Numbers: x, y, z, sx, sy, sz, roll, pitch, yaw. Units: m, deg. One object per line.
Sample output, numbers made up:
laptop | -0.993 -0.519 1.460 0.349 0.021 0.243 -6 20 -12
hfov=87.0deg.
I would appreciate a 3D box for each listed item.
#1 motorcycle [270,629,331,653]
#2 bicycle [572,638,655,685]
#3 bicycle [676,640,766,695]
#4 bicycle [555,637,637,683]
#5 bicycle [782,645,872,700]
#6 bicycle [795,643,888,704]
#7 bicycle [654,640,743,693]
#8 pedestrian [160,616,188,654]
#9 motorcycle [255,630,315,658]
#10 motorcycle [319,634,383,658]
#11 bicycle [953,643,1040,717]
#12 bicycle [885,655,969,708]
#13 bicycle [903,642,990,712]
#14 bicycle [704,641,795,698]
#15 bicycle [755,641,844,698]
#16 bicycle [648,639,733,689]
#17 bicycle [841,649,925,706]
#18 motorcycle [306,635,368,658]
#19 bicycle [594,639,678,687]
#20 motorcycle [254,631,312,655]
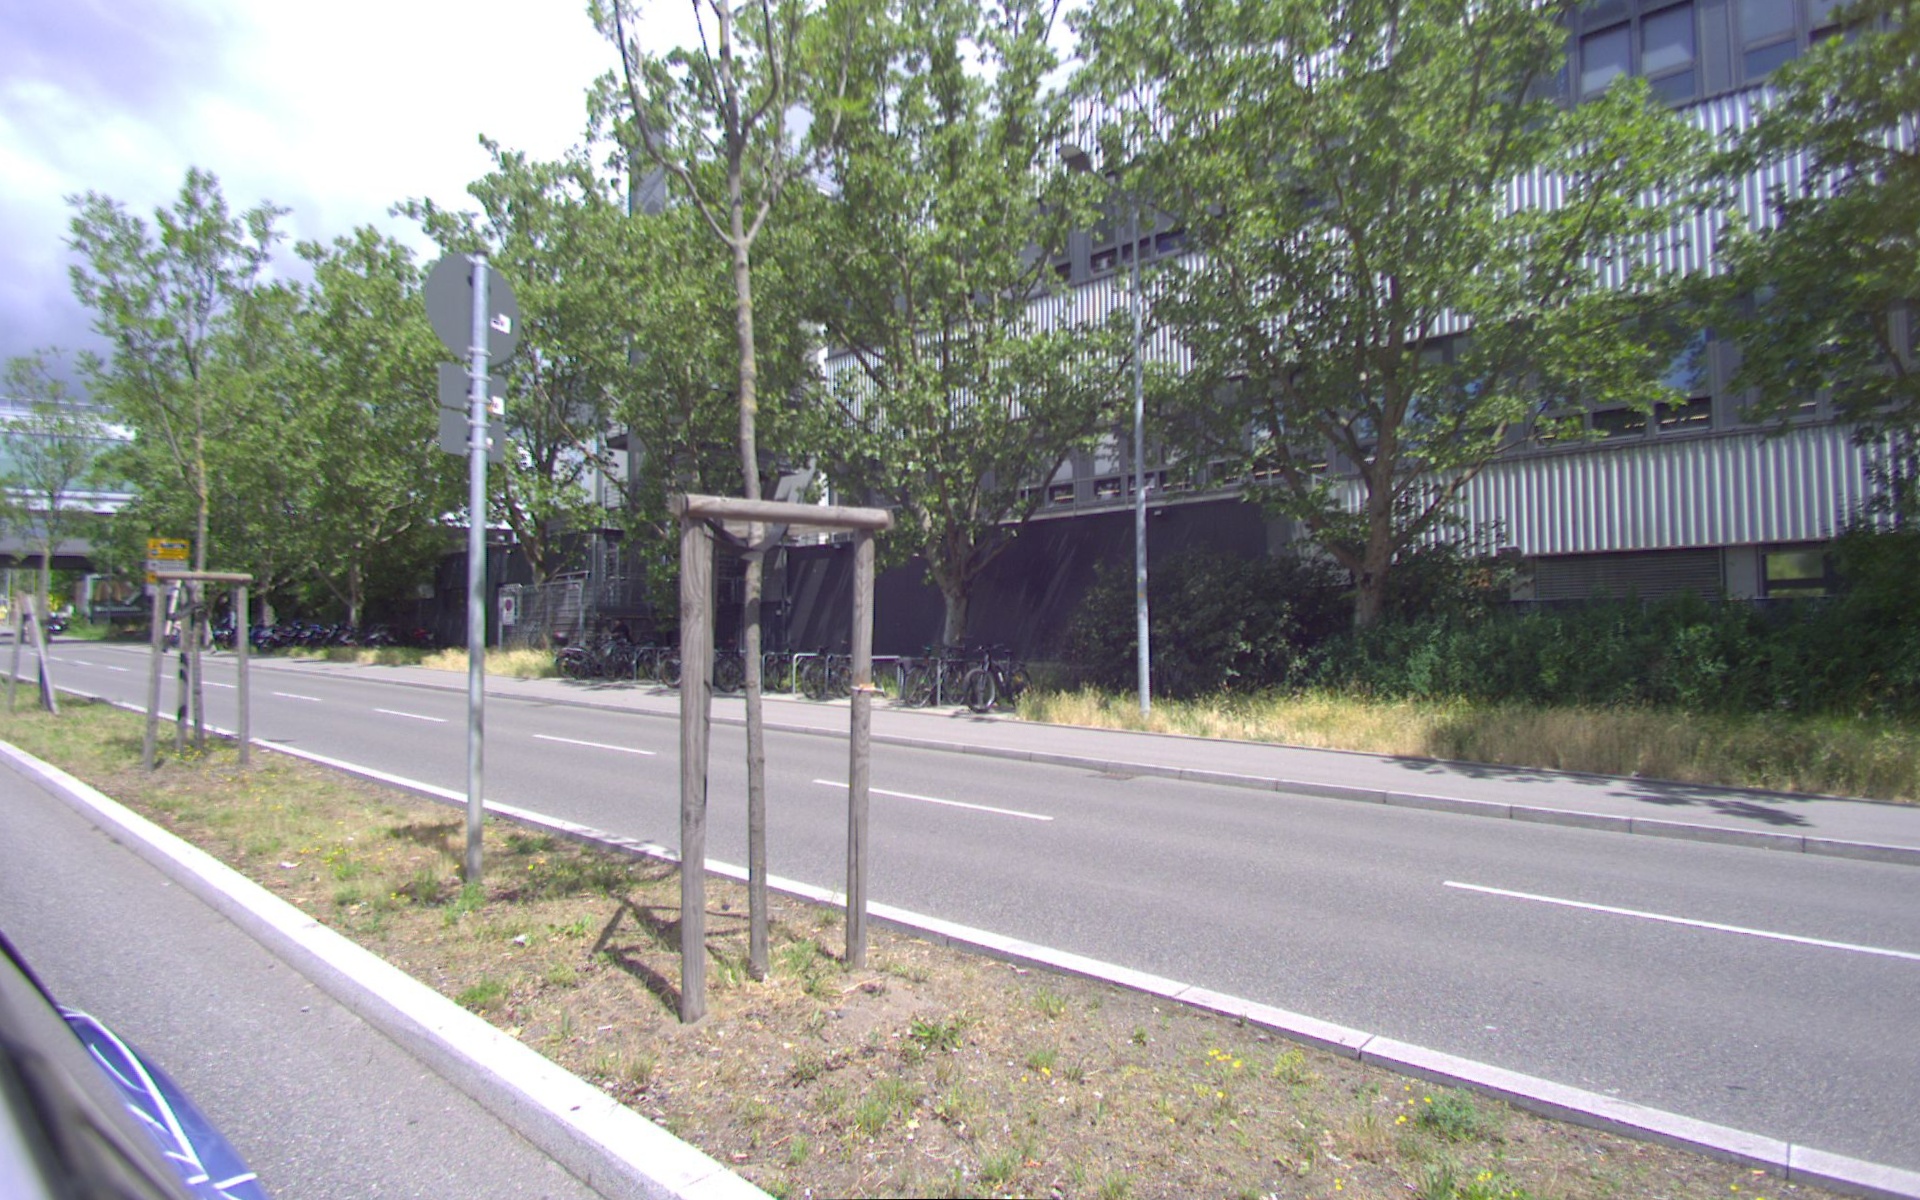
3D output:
motorcycle | -28.107 1.747 43.146 0.534 0.976 2.105 -2 -1 41
bicycle | -8.905 1.576 26.085 0.382 1.119 2.101 -2 -1 43
bicycle | -5.334 1.493 22.666 0.382 1.119 2.101 -2 -1 43
bicycle | -9.546 1.557 26.631 0.382 1.119 2.101 -2 -1 43
bicycle | -2.744 1.484 21.136 0.382 1.038 2.101 -2 -1 43
bicycle | -2.340 1.439 20.227 0.382 1.104 2.101 -2 -1 43
bicycle | -5.990 1.505 23.263 0.382 1.119 2.101 -2 -1 43
pedestrian | -36.755 1.630 47.303 0.672 1.734 0.888 -2 -2 41
motorcycle | -29.167 1.890 43.772 0.534 1.146 2.105 -2 -1 41
motorcycle | -23.955 1.798 39.830 0.534 0.905 2.105 -2 -1 41
bicycle | 0.660 1.343 17.397 0.381 1.137 1.968 -2 -1 39
bicycle | -0.597 1.525 19.220 0.381 0.897 1.968 -2 -1 39
bicycle | -0.220 1.340 18.119 0.381 1.137 1.968 -2 -1 39
bicycle | -4.543 1.484 22.016 0.382 1.119 2.101 -2 -1 43
bicycle | -3.412 1.461 21.750 0.382 1.119 2.101 -2 -1 43
bicycle | -6.481 1.516 24.413 0.382 1.119 2.101 -2 -1 43
bicycle | -1.470 1.481 19.706 0.381 1.005 1.968 -2 -1 39
motorcycle | -25.426 1.884 41.353 0.534 0.892 2.105 -2 -1 41
bicycle | -8.161 1.571 25.537 0.382 1.119 2.101 -2 -1 43
motorcycle | -30.034 1.903 44.913 0.534 0.976 2.105 -2 -1 41
